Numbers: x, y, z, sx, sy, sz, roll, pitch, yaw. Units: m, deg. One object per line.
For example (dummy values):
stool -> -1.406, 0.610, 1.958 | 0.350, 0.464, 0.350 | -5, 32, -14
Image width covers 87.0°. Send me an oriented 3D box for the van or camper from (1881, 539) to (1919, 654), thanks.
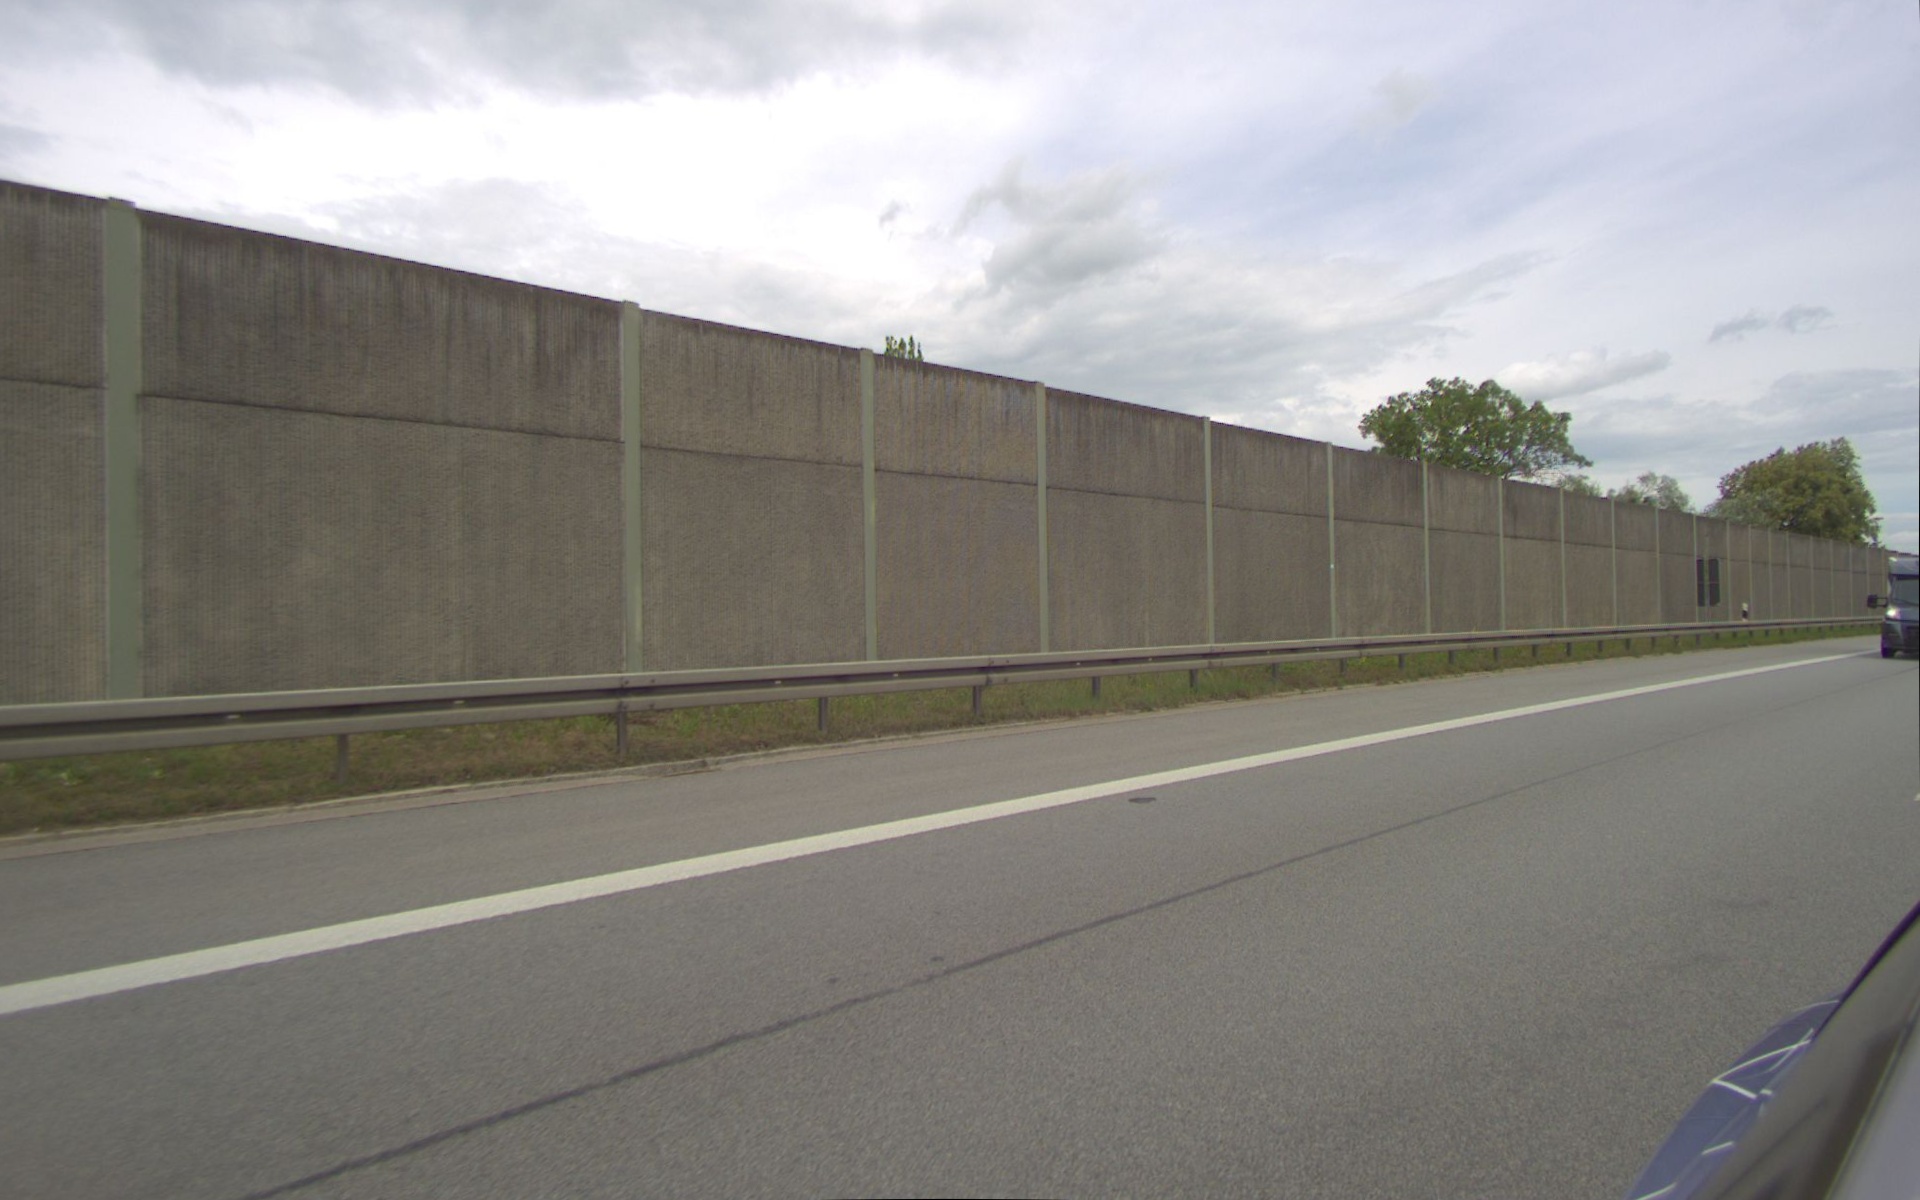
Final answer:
van or camper -> 25.946, -0.076, 25.920 | 7.094, 2.731, 2.435 | 0, 0, -39
